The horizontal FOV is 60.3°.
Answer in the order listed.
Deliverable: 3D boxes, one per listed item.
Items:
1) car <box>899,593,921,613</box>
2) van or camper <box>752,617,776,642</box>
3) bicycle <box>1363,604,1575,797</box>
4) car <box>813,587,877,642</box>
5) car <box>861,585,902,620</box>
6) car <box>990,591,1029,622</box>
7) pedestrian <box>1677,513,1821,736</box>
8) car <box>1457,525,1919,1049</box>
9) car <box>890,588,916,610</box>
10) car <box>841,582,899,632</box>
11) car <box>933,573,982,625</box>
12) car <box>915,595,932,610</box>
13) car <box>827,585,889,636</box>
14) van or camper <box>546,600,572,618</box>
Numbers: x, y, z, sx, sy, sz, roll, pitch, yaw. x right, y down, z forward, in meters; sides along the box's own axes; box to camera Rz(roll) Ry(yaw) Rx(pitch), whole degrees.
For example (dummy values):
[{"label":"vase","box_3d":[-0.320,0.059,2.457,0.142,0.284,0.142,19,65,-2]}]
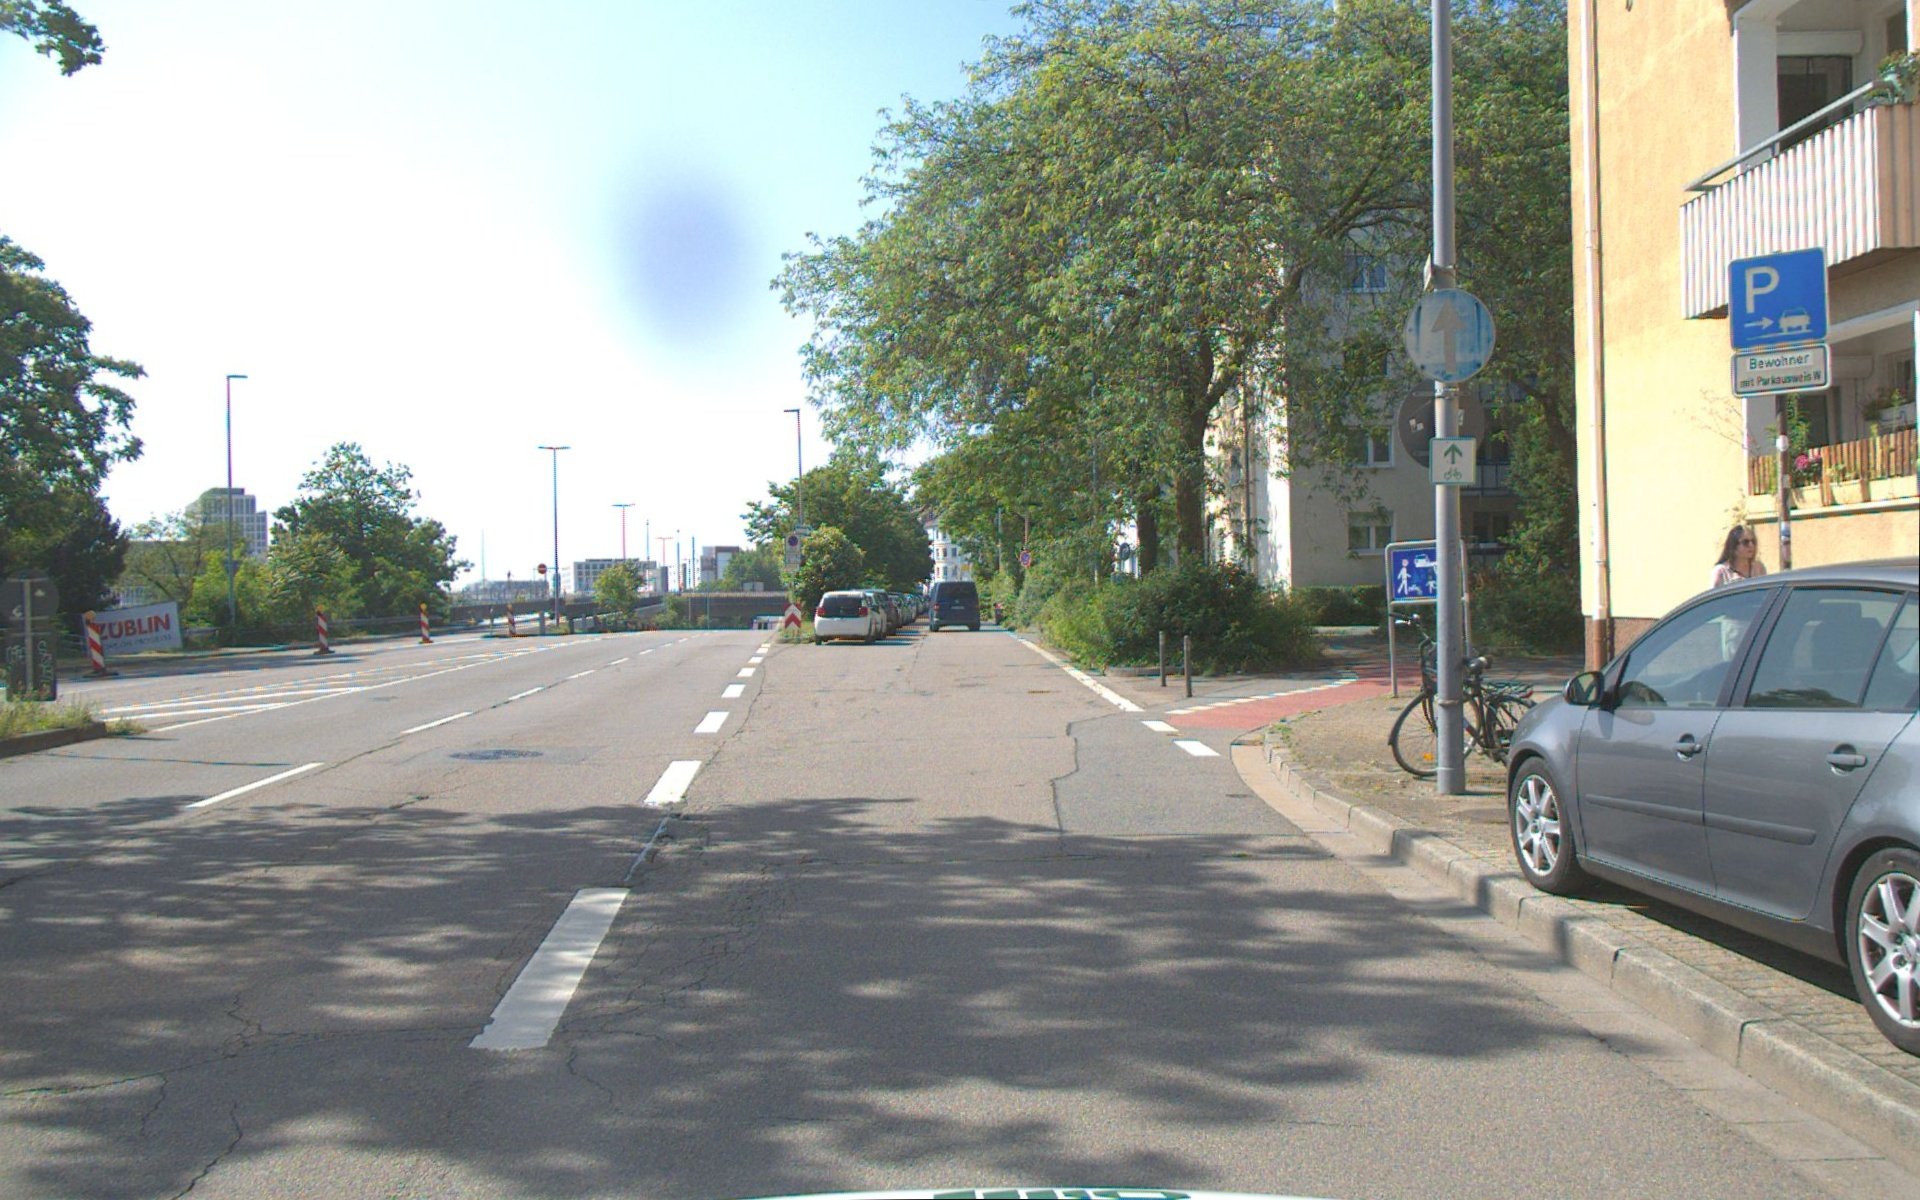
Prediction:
[{"label":"car","box_3d":[-3.985,0.256,132.638,1.630,1.536,4.008,1,0,0]},{"label":"van or camper","box_3d":[-23.333,3.548,196.940,2.250,2.838,5.569,-1,0,-1]},{"label":"bicycle","box_3d":[3.357,0.623,11.080,0.689,1.143,1.743,-2,1,-6]},{"label":"car","box_3d":[-3.275,0.382,47.682,1.586,1.531,3.461,0,0,0]},{"label":"car","box_3d":[-3.455,0.076,73.583,1.630,1.499,3.789,1,0,0]},{"label":"car","box_3d":[2.375,0.307,80.695,1.691,1.445,3.999,-2,0,-1]},{"label":"pedestrian","box_3d":[6.086,0.179,12.796,0.642,1.637,0.824,-3,1,0]},{"label":"car","box_3d":[3.512,0.493,6.296,1.670,1.540,4.088,-3,1,-5]},{"label":"car","box_3d":[-3.996,-0.074,116.501,1.630,1.536,4.008,1,0,0]},{"label":"car","box_3d":[-3.189,0.207,57.821,1.738,1.607,4.180,-2,1,-6]},{"label":"car","box_3d":[-0.107,-0.061,65.198,1.844,1.955,4.008,1,0,0]},{"label":"car","box_3d":[-4.091,0.252,185.779,1.953,1.686,3.999,-1,0,-1]},{"label":"car","box_3d":[-3.207,0.297,52.408,1.686,1.531,4.132,1,0,0]},{"label":"van or camper","box_3d":[-32.856,0.744,135.577,1.439,1.373,4.624,-1,0,-6]}]
